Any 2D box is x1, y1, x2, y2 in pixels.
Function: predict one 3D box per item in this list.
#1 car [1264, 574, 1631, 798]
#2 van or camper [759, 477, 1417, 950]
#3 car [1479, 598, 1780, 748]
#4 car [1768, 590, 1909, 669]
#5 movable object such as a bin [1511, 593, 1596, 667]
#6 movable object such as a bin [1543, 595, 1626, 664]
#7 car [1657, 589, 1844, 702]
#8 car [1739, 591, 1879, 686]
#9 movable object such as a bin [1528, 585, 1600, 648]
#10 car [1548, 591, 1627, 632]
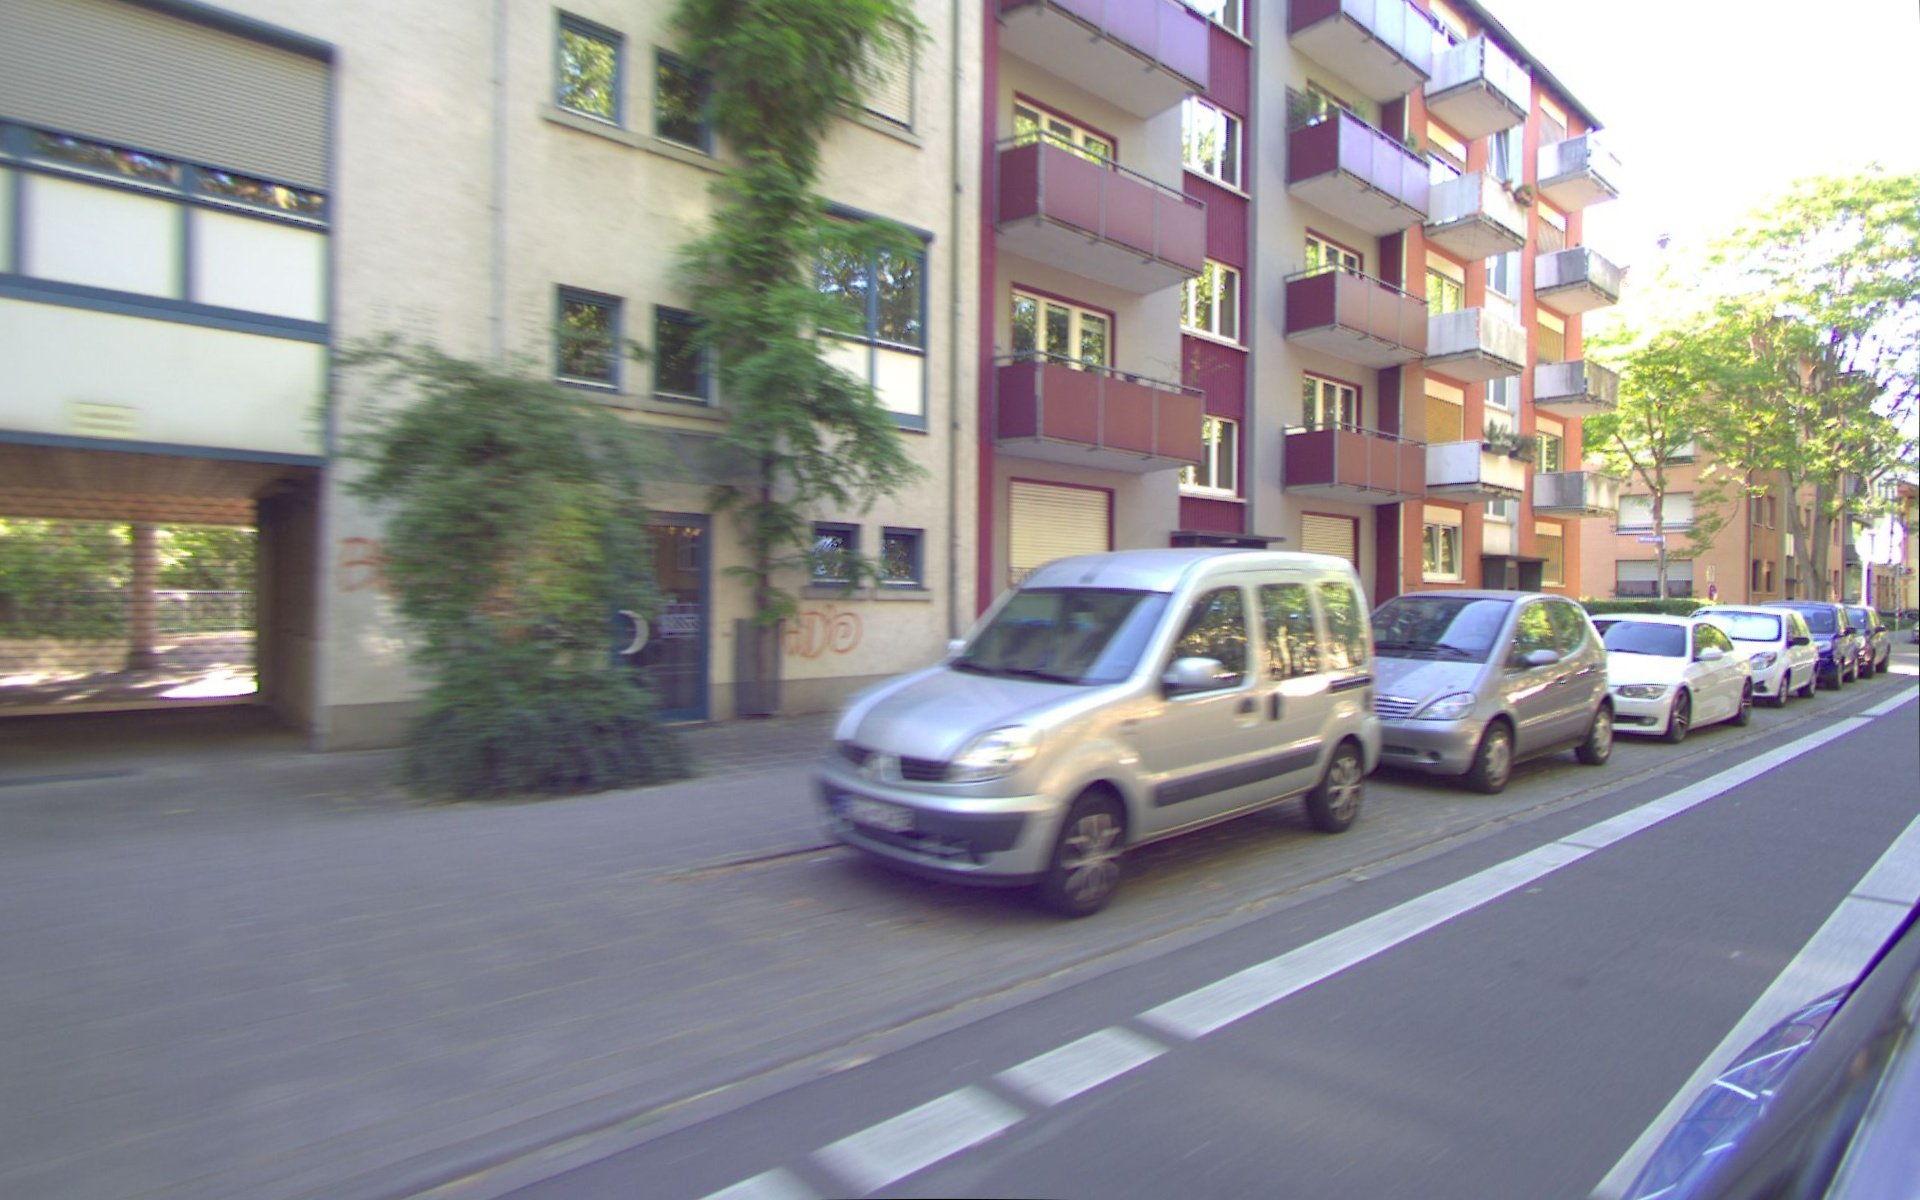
[{"bbox_3d":[4.471,0.608,9.099,3.525,1.600,1.663,0,2,-40],"label":"car"},{"bbox_3d":[1.030,0.429,6.109,4.140,1.906,1.671,0,2,-43],"label":"van or camper"},{"bbox_3d":[8.147,0.728,12.137,4.654,1.416,1.663,0,2,-39],"label":"car"},{"bbox_3d":[18.860,0.572,21.672,3.848,1.480,1.737,0,2,-41],"label":"car"},{"bbox_3d":[11.504,0.555,19.606,1.652,1.344,0.925,0,0,-40],"label":"movable object such as a bin"},{"bbox_3d":[12.830,0.586,20.779,1.691,1.344,0.969,0,0,-40],"label":"movable object such as a bin"},{"bbox_3d":[12.740,0.628,16.236,3.767,1.545,1.595,-1,3,-40],"label":"car"},{"bbox_3d":[15.983,0.650,18.997,3.688,1.610,1.528,-1,0,-42],"label":"car"},{"bbox_3d":[13.263,0.352,22.239,0.761,1.344,1.155,0,0,-40],"label":"movable object such as a bin"},{"bbox_3d":[25.235,0.431,40.818,1.703,1.560,3.978,0,0,17],"label":"car"}]
